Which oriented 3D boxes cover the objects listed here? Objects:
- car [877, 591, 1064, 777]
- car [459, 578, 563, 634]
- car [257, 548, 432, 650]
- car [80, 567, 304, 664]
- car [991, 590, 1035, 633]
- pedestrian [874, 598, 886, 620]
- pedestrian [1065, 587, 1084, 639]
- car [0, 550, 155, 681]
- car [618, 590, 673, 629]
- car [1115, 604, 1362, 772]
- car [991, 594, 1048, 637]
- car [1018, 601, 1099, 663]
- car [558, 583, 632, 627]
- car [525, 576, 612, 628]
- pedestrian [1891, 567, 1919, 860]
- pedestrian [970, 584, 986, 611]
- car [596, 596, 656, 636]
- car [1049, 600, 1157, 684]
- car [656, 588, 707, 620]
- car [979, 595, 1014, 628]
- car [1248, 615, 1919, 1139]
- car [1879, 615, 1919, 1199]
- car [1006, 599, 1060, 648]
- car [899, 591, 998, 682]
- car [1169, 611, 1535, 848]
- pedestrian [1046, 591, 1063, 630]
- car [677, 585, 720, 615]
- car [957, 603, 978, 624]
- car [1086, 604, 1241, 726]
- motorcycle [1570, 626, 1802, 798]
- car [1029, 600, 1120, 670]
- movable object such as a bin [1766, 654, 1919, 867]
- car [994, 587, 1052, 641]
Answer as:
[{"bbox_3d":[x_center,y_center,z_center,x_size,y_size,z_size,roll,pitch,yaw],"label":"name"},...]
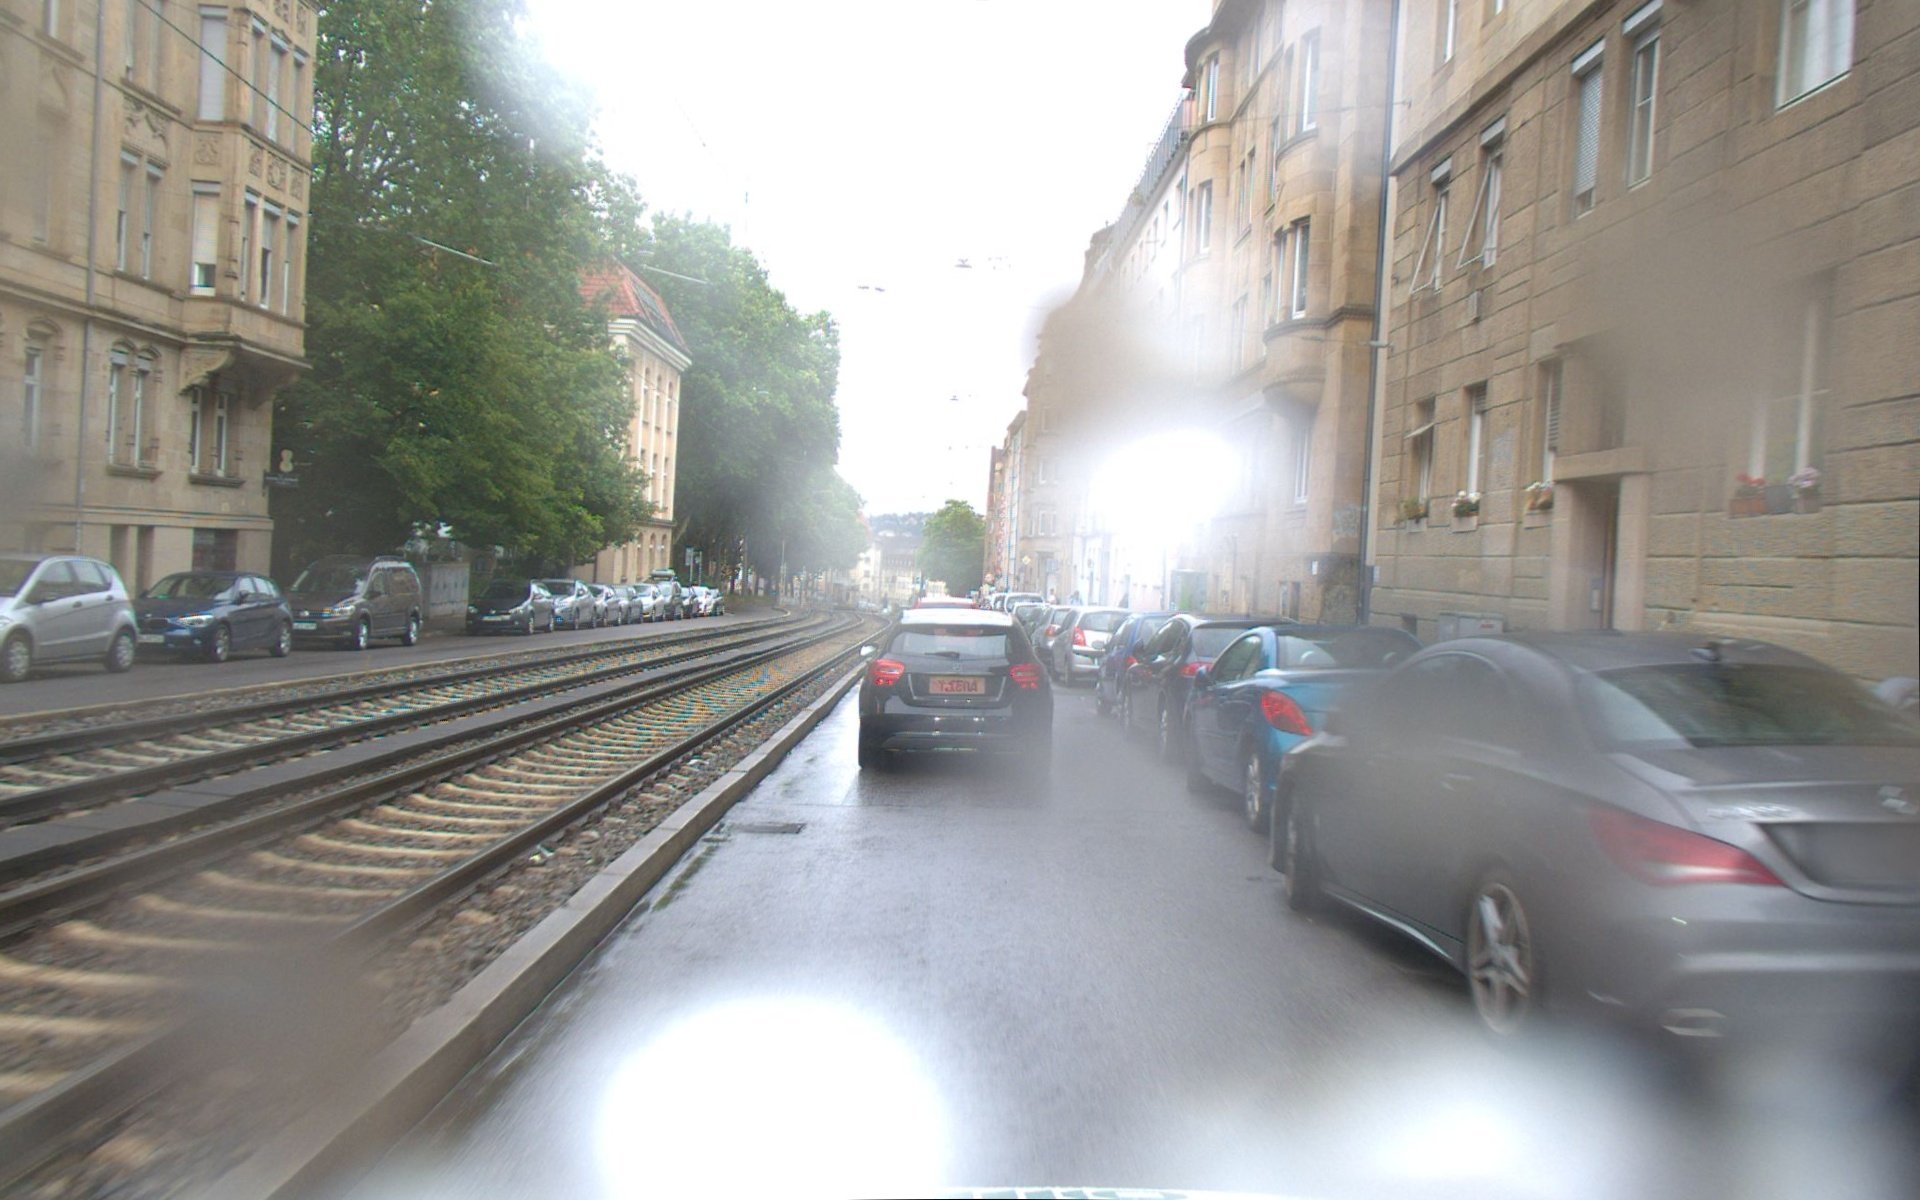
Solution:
[{"bbox_3d":[0.060,0.708,15.841,1.548,1.531,3.573,2,0,-1],"label":"car"},{"bbox_3d":[-12.460,0.147,46.137,1.812,1.489,4.548,0,0,-2],"label":"car"},{"bbox_3d":[-12.371,-0.027,33.571,1.764,1.879,4.818,1,0,-1],"label":"car"},{"bbox_3d":[-12.333,0.229,26.881,1.727,1.422,4.268,1,0,-2],"label":"car"},{"bbox_3d":[2.307,0.491,72.725,1.790,1.781,4.467,2,0,1],"label":"car"},{"bbox_3d":[-5.955,0.660,123.303,0.789,1.662,0.892,1,0,0],"label":"pedestrian"},{"bbox_3d":[3.990,0.457,57.723,0.594,1.794,0.688,0,0,-1],"label":"pedestrian"},{"bbox_3d":[-12.189,0.167,21.375,1.660,1.550,3.855,1,0,0],"label":"car"},{"bbox_3d":[-12.635,0.371,66.631,1.508,1.531,4.153,0,0,-1],"label":"car"},{"bbox_3d":[2.786,0.823,17.422,1.751,1.488,4.082,2,0,-2],"label":"car"},{"bbox_3d":[2.212,0.568,62.914,1.833,1.481,4.901,2,0,-2],"label":"car"},{"bbox_3d":[2.489,0.784,42.554,1.636,1.434,4.310,1,0,-2],"label":"car"},{"bbox_3d":[-12.469,0.161,56.730,1.718,1.438,4.152,0,0,-1],"label":"car"},{"bbox_3d":[-12.247,0.059,51.988,1.718,1.563,4.541,0,0,-1],"label":"car"},{"bbox_3d":[5.404,0.612,8.720,0.550,1.562,0.710,2,0,-1],"label":"pedestrian"},{"bbox_3d":[1.404,-0.183,128.233,1.115,2.033,1.171,0,0,-4],"label":"pedestrian"},{"bbox_3d":[-12.403,0.575,61.631,1.508,1.438,3.952,0,0,-1],"label":"car"},{"bbox_3d":[2.665,0.758,31.517,1.558,1.459,3.682,1,0,-3],"label":"car"},{"bbox_3d":[-12.915,0.174,76.836,1.640,1.438,4.010,0,0,1],"label":"car"},{"bbox_3d":[1.895,0.578,85.663,1.659,1.556,4.000,2,0,0],"label":"car"},{"bbox_3d":[2.595,0.801,6.947,1.720,1.411,4.482,0,0,-4],"label":"car"},{"bbox_3d":[2.830,0.780,1.725,1.637,1.469,3.790,0,0,0],"label":"car"},{"bbox_3d":[2.315,0.731,53.099,1.538,1.487,3.599,2,0,0],"label":"car"},{"bbox_3d":[-0.225,0.661,32.140,1.749,1.608,3.999,2,0,-1],"label":"car"},{"bbox_3d":[2.758,0.840,12.541,1.672,1.422,4.017,2,0,-2],"label":"car"},{"bbox_3d":[4.563,0.507,79.864,0.730,1.866,1.039,0,0,1],"label":"pedestrian"},{"bbox_3d":[-12.859,-0.012,81.475,1.469,1.415,3.987,0,0,1],"label":"car"},{"bbox_3d":[0.625,1.118,139.942,1.790,1.646,3.864,1,0,0],"label":"car"},{"bbox_3d":[2.645,0.805,22.119,1.512,1.439,3.445,2,0,-2],"label":"car"},{"bbox_3d":[5.984,0.867,13.853,0.691,1.219,2.745,2,0,0],"label":"motorcycle"},{"bbox_3d":[2.502,0.742,37.064,1.634,1.459,3.955,1,0,-2],"label":"car"},{"bbox_3d":[5.334,0.909,9.670,0.651,1.122,1.123,2,0,-1],"label":"movable object such as a bin"},{"bbox_3d":[2.183,0.472,57.980,1.754,1.796,4.211,1,0,-1],"label":"car"}]
